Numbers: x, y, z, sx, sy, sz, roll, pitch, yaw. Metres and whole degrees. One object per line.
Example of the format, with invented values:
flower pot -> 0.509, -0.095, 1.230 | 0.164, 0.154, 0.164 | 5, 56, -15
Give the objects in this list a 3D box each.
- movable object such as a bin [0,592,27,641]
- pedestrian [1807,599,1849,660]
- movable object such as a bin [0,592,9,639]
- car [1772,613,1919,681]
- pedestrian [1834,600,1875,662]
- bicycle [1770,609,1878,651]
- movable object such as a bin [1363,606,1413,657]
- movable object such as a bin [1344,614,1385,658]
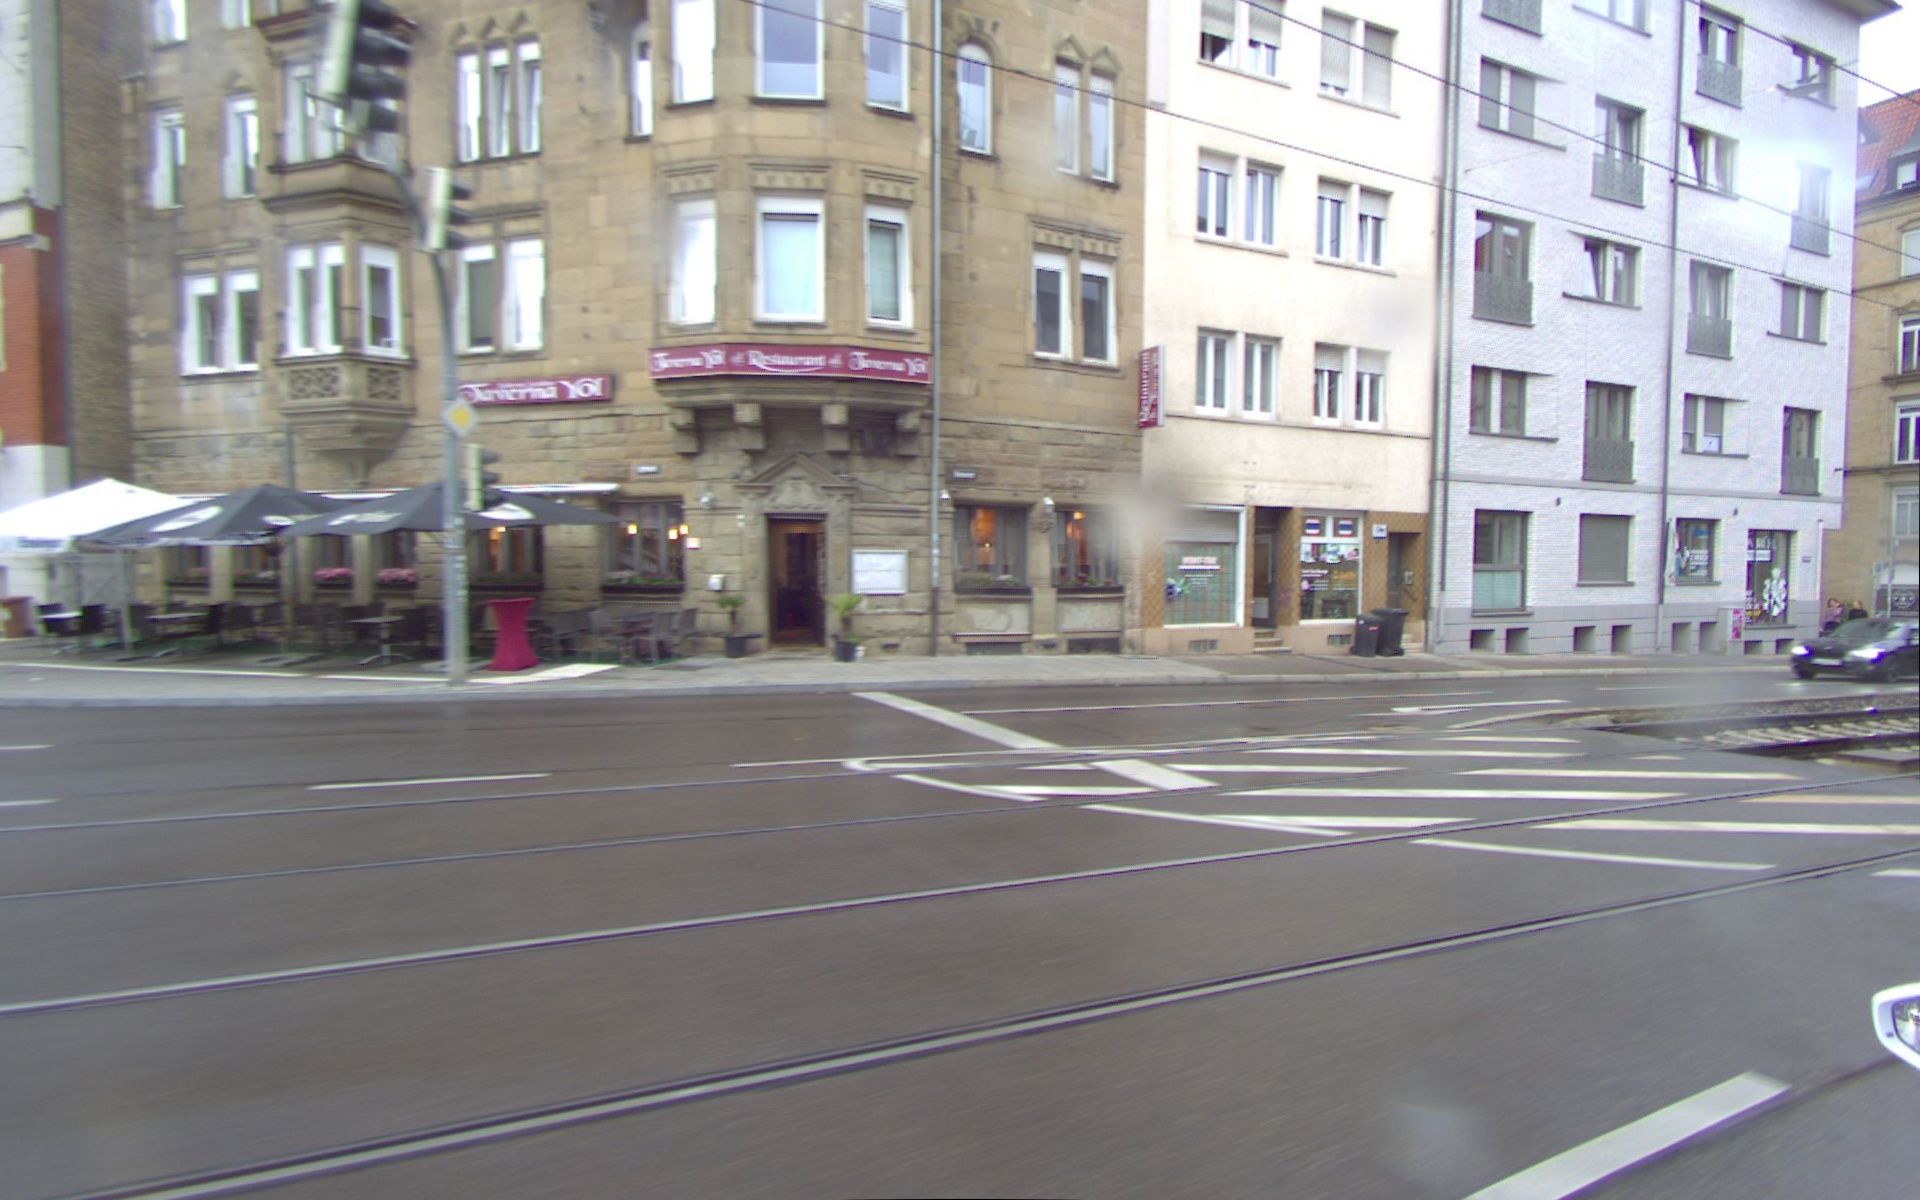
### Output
movable object such as a bin -> -21.183, 0.360, 22.136 | 0.540, 1.056, 0.722 | 1, 0, 6
pedestrian -> 26.340, 0.905, 30.484 | 0.911, 1.810, 0.638 | 2, -1, -26
movable object such as a bin -> -21.750, 0.347, 22.318 | 0.540, 1.056, 0.722 | 1, 0, 6
car -> 20.911, 1.037, 23.046 | 4.216, 1.415, 1.942 | 1, -1, -25
pedestrian -> 26.604, 0.923, 29.876 | 0.870, 1.810, 0.627 | 2, -1, -26
bicycle -> 35.610, 1.207, 41.462 | 1.583, 1.605, 3.124 | 1, 0, -36
movable object such as a bin -> 9.671, 0.710, 22.727 | 0.678, 1.088, 0.710 | 1, 4, -26
movable object such as a bin -> 9.062, 0.792, 22.512 | 0.552, 0.923, 0.591 | 1, 4, -26
